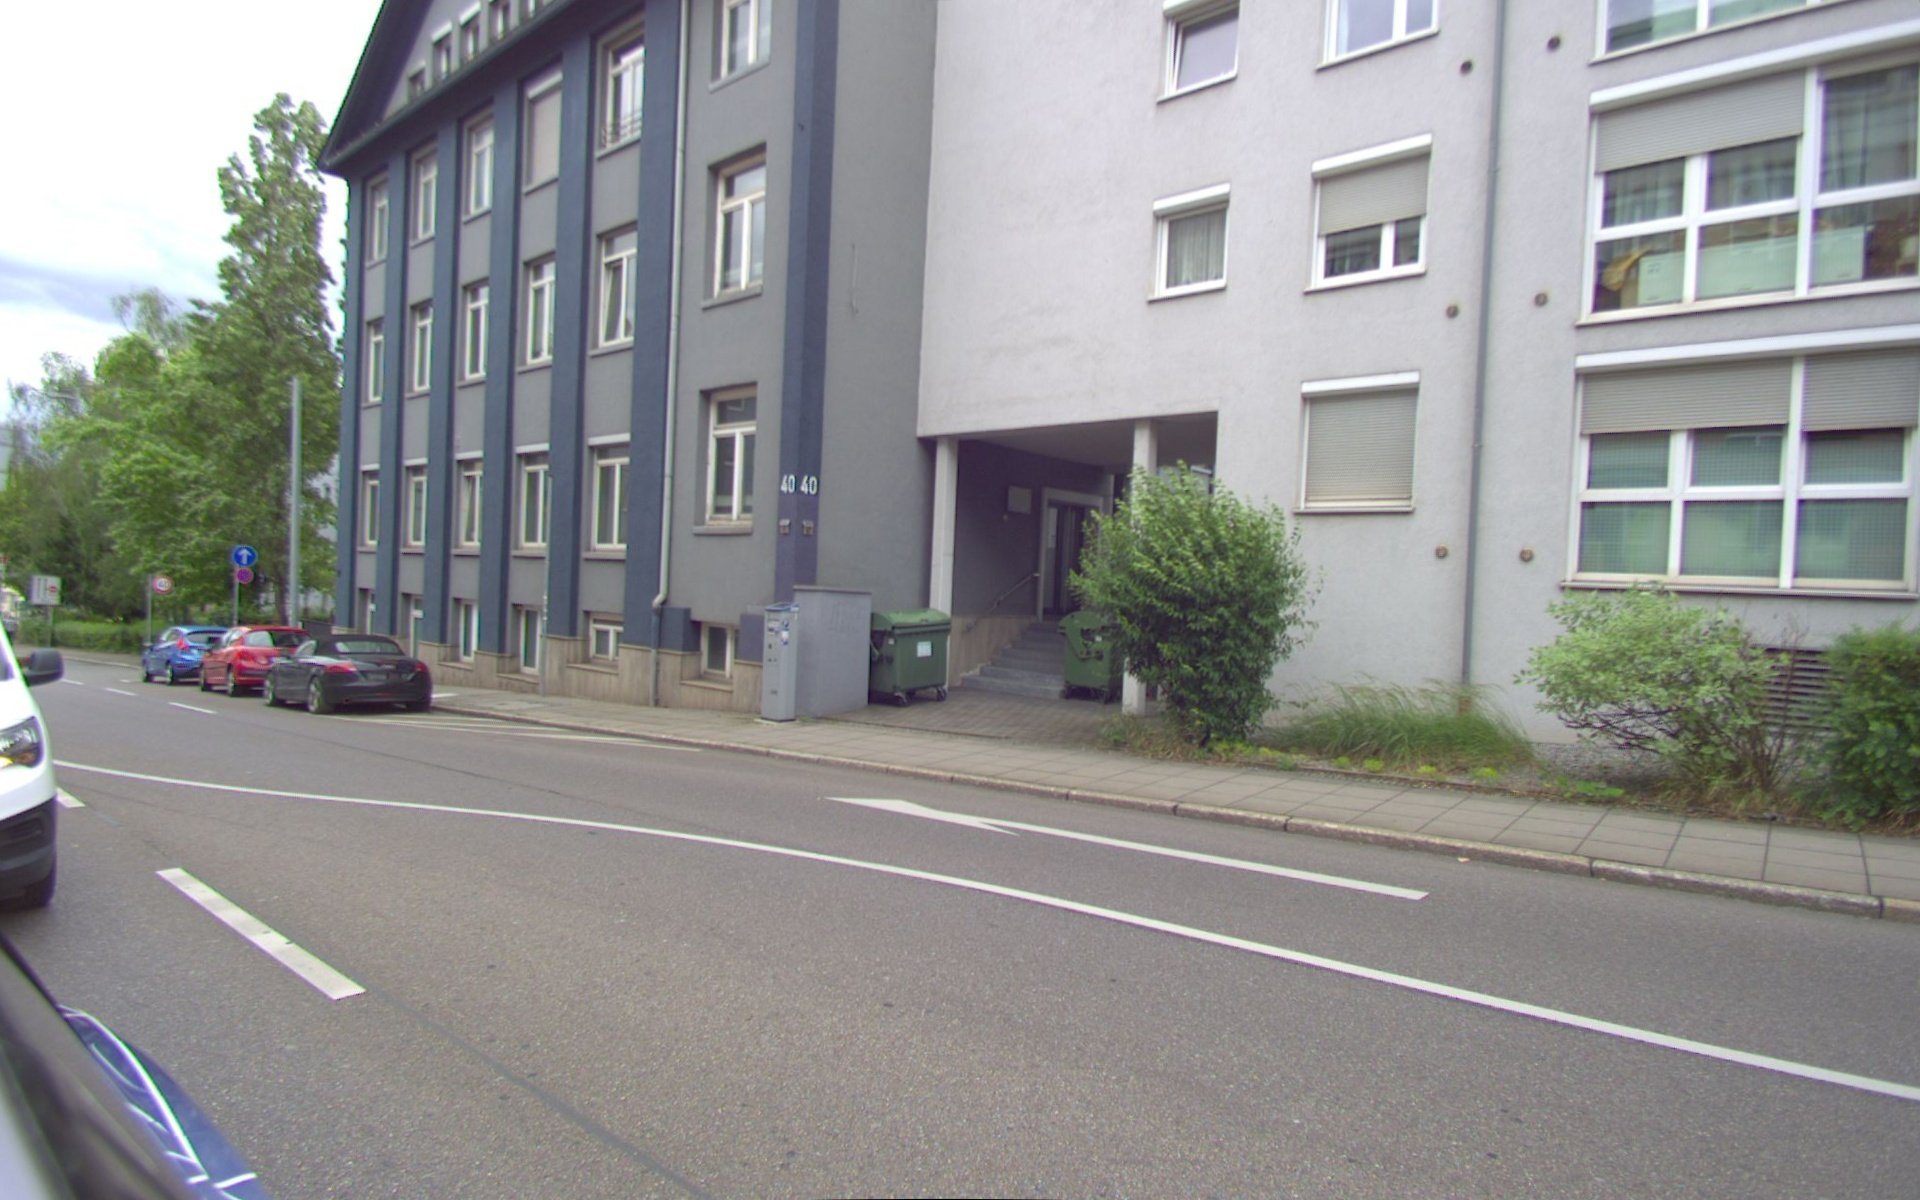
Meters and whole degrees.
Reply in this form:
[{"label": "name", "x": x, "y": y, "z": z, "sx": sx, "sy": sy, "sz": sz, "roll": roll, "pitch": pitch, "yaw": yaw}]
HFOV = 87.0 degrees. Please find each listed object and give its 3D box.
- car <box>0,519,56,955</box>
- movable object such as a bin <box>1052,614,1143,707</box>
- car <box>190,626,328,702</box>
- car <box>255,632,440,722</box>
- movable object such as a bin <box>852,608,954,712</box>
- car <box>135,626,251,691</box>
[{"label": "car", "x": -6.127, "y": 0.622, "z": 5.215, "sx": 3.998, "sy": 1.901, "sz": 1.716, "roll": -1, "pitch": 0, "yaw": 41}, {"label": "movable object such as a bin", "x": 2.244, "y": 0.950, "z": 16.522, "sx": 1.078, "sy": 1.427, "sz": 1.026, "roll": -1, "pitch": 0, "yaw": 41}, {"label": "car", "x": -15.323, "y": 1.326, "z": 22.049, "sx": 3.727, "sy": 1.460, "sz": 1.623, "roll": -1, "pitch": 0, "yaw": 41}, {"label": "car", "x": -10.999, "y": 1.290, "z": 18.101, "sx": 3.727, "sy": 1.403, "sz": 1.778, "roll": -1, "pitch": -2, "yaw": 41}, {"label": "movable object such as a bin", "x": -0.883, "y": 0.891, "z": 15.752, "sx": 1.039, "sy": 1.518, "sz": 1.213, "roll": -1, "pitch": 0, "yaw": 41}, {"label": "car", "x": -19.479, "y": 1.416, "z": 25.661, "sx": 3.727, "sy": 1.460, "sz": 1.623, "roll": -1, "pitch": 0, "yaw": 41}]
